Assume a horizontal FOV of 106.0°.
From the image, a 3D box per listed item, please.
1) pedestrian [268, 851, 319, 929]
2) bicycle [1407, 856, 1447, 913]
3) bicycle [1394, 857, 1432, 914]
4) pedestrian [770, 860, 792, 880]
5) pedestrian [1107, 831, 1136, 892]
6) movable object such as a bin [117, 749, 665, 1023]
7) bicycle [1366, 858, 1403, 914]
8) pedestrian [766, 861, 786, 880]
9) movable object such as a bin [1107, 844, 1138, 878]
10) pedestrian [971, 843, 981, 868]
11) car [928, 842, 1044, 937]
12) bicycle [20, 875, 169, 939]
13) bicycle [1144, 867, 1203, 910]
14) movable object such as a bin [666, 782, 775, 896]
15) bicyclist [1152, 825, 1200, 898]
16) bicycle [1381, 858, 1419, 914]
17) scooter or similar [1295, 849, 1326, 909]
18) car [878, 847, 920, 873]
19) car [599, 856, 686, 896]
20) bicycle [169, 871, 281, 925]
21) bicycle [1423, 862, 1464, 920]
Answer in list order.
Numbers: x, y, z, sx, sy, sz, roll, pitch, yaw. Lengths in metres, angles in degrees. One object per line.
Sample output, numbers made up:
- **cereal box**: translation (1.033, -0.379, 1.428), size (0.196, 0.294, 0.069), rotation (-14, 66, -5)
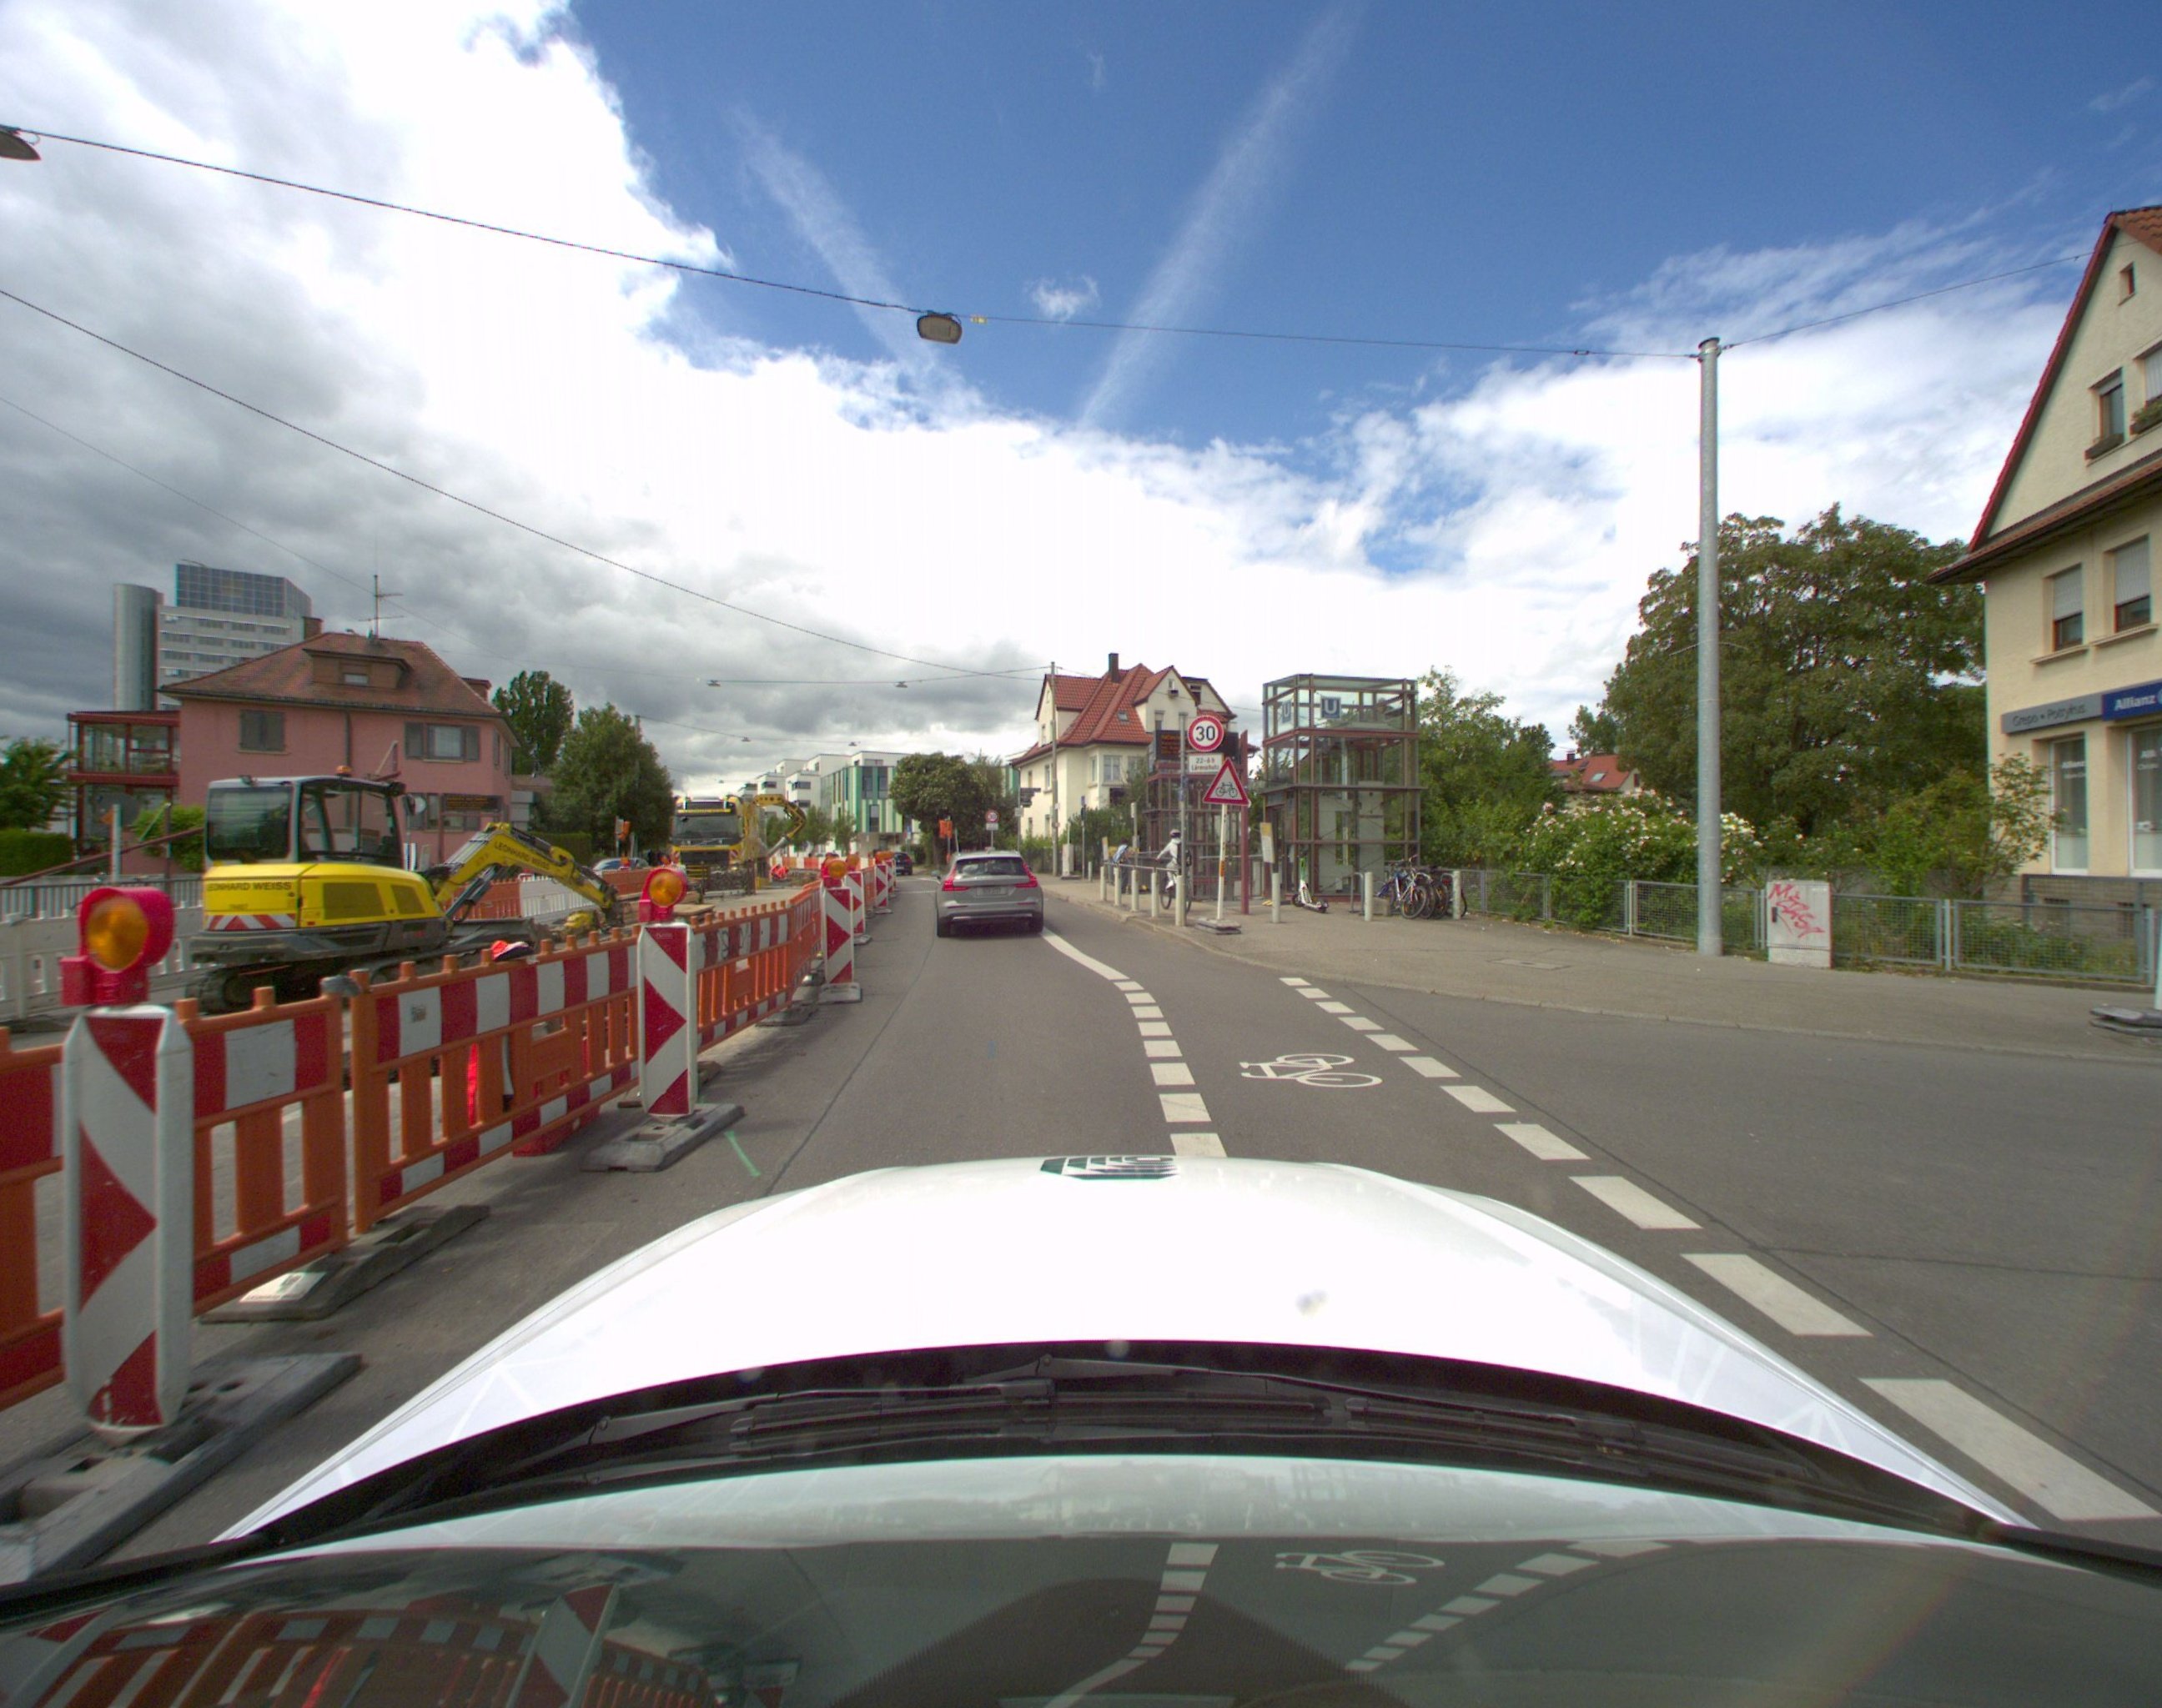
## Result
- **pedestrian**: translation (-19.751, 0.887, 20.434), size (0.679, 1.886, 0.583), rotation (-1, 0, -11)
- **bicycle**: translation (6.525, 0.561, 15.379), size (0.215, 1.008, 1.189), rotation (-1, 0, -1)
- **bicycle**: translation (6.259, 0.577, 15.387), size (0.215, 1.013, 1.169), rotation (-1, 0, -1)
- **pedestrian**: translation (-15.393, 0.837, 41.761), size (0.788, 0.990, 0.811), rotation (-1, 0, -1)
- **pedestrian**: translation (1.107, 0.209, 22.241), size (0.598, 1.583, 0.400), rotation (5, -3, -11)
- **movable object such as a bin**: translation (-8.383, 0.279, 11.204), size (1.988, 2.625, 6.520), rotation (-1, 1, -1)
- **bicycle**: translation (5.715, 0.583, 15.352), size (0.215, 0.989, 1.203), rotation (-1, 0, -1)
- **pedestrian**: translation (-15.930, 0.857, 42.556), size (0.637, 0.990, 0.795), rotation (-1, 0, 9)
- **movable object such as a bin**: translation (1.811, 0.292, 35.739), size (1.265, 1.470, 1.003), rotation (0, 0, -4)
- **pedestrian**: translation (-6.613, 0.078, 51.236), size (0.521, 1.539, 0.633), rotation (-1, 0, -13)
- **car**: translation (-1.663, 0.555, 15.306), size (1.850, 1.513, 3.995), rotation (-1, 1, -4)
- **bicycle**: translation (-19.200, 0.994, 15.936), size (0.538, 1.082, 2.125), rotation (-1, 1, -8)
- **bicycle**: translation (1.855, 0.677, 16.635), size (0.636, 0.753, 2.055), rotation (0, 1, -11)
- **movable object such as a bin**: translation (-15.428, -0.612, 35.740), size (2.596, 4.221, 11.064), rotation (-1, 1, -15)
- **bicyclist**: translation (1.899, 0.129, 16.441), size (0.656, 1.415, 1.174), rotation (0, 1, -11)
- **bicycle**: translation (5.995, 0.581, 15.354), size (0.215, 1.001, 1.206), rotation (-1, 0, -1)
- **scooter or similar**: translation (4.582, 0.491, 16.288), size (0.215, 1.111, 0.943), rotation (-1, 4, -9)
- **car**: translation (-10.973, 0.338, 48.934), size (1.862, 1.513, 3.970), rotation (1, 0, -22)
- **car**: translation (-18.777, 0.906, 35.097), size (1.854, 1.513, 4.428), rotation (-1, 1, -9)
- **bicycle**: translation (-19.572, 0.974, 18.695), size (0.538, 1.082, 2.125), rotation (-1, 1, -8)
- **bicycle**: translation (6.824, 0.678, 15.382), size (0.215, 1.008, 1.189), rotation (-1, 0, -1)
